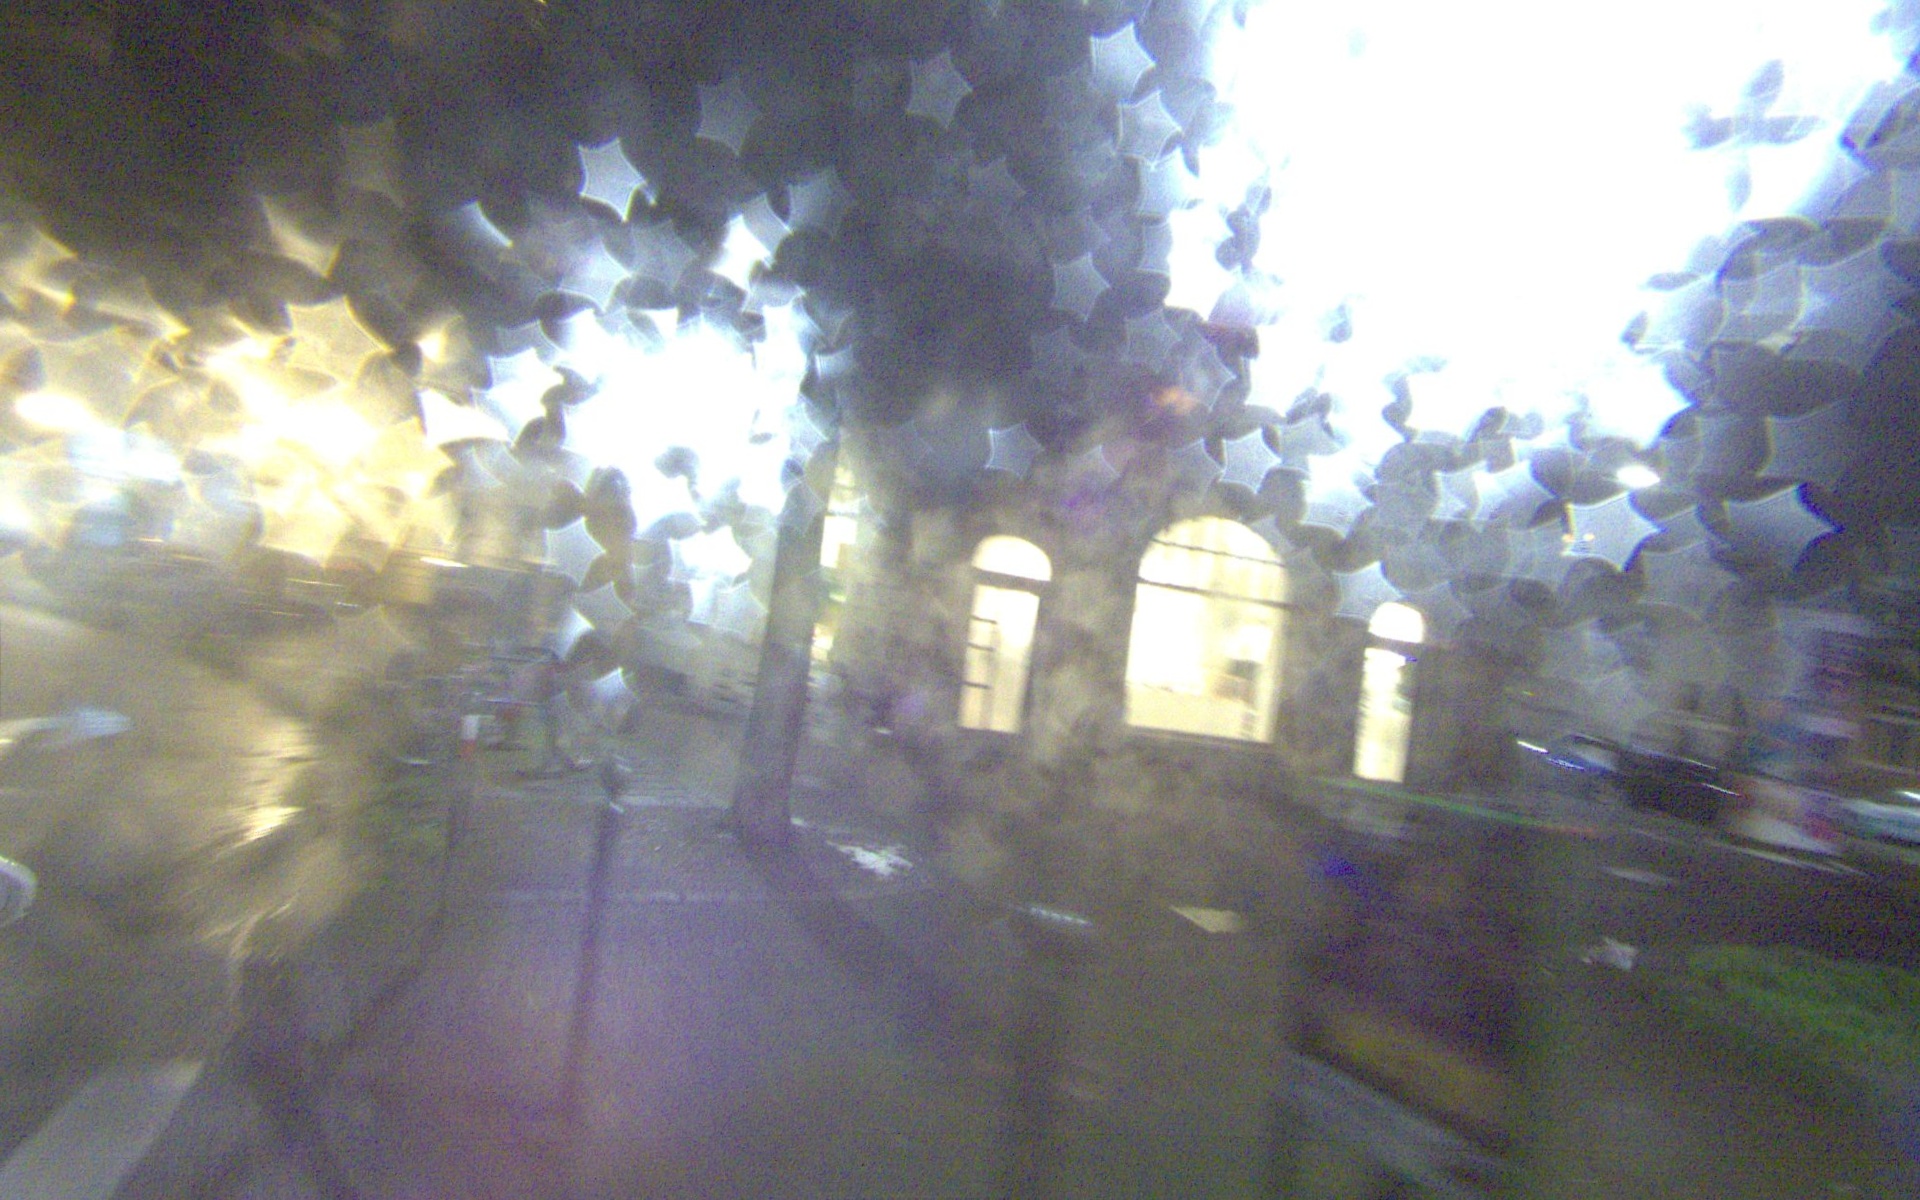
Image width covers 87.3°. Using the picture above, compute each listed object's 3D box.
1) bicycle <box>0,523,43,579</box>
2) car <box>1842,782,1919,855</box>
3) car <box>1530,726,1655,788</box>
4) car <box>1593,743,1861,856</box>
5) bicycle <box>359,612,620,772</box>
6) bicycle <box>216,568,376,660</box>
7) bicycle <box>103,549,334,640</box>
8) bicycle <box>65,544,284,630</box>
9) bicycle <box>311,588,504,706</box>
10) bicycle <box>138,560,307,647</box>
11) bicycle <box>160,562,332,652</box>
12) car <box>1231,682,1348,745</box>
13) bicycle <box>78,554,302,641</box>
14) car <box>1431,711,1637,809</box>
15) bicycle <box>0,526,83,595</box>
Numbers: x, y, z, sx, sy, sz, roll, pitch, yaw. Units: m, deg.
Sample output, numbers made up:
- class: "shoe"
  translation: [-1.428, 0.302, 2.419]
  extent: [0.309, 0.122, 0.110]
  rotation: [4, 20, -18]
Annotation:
- class: "bicycle"
  translation: [-19.758, -1.106, 19.638]
  extent: [0.711, 1.038, 2.781]
  rotation: [8, -3, 11]
- class: "car"
  translation: [23.828, 5.493, 24.316]
  extent: [1.584, 1.474, 3.411]
  rotation: [9, -2, -11]
- class: "car"
  translation: [21.656, 5.344, 34.590]
  extent: [1.584, 1.474, 3.411]
  rotation: [9, -2, -11]
- class: "car"
  translation: [16.717, 4.303, 22.247]
  extent: [1.745, 1.519, 4.408]
  rotation: [9, -3, -16]
- class: "bicycle"
  translation: [-3.552, 0.742, 7.721]
  extent: [0.444, 1.071, 1.656]
  rotation: [7, -2, 43]
- class: "bicycle"
  translation: [-9.362, 0.220, 14.248]
  extent: [0.444, 1.071, 1.728]
  rotation: [7, -2, 43]
- class: "bicycle"
  translation: [-11.639, -0.046, 15.922]
  extent: [0.714, 1.038, 2.768]
  rotation: [7, -3, 38]
- class: "bicycle"
  translation: [-13.299, -0.186, 17.147]
  extent: [0.714, 1.038, 2.768]
  rotation: [7, -3, 38]
- class: "bicycle"
  translation: [-5.920, 0.535, 10.857]
  extent: [0.444, 1.071, 1.656]
  rotation: [7, -2, 43]
- class: "bicycle"
  translation: [-11.179, 0.083, 15.324]
  extent: [0.444, 1.071, 1.931]
  rotation: [7, -2, 38]
- class: "bicycle"
  translation: [-10.538, 0.132, 14.914]
  extent: [0.444, 1.071, 1.931]
  rotation: [7, -2, 38]
- class: "car"
  translation: [12.802, 4.371, 39.430]
  extent: [1.972, 1.762, 4.683]
  rotation: [9, -2, -14]
- class: "bicycle"
  translation: [-12.634, -0.008, 16.639]
  extent: [0.714, 1.038, 2.768]
  rotation: [7, -3, 38]
- class: "car"
  translation: [15.458, 4.268, 27.433]
  extent: [1.973, 1.762, 4.680]
  rotation: [9, -2, -16]
- class: "bicycle"
  translation: [-18.464, -0.873, 18.944]
  extent: [0.714, 1.142, 2.768]
  rotation: [7, -3, 38]
